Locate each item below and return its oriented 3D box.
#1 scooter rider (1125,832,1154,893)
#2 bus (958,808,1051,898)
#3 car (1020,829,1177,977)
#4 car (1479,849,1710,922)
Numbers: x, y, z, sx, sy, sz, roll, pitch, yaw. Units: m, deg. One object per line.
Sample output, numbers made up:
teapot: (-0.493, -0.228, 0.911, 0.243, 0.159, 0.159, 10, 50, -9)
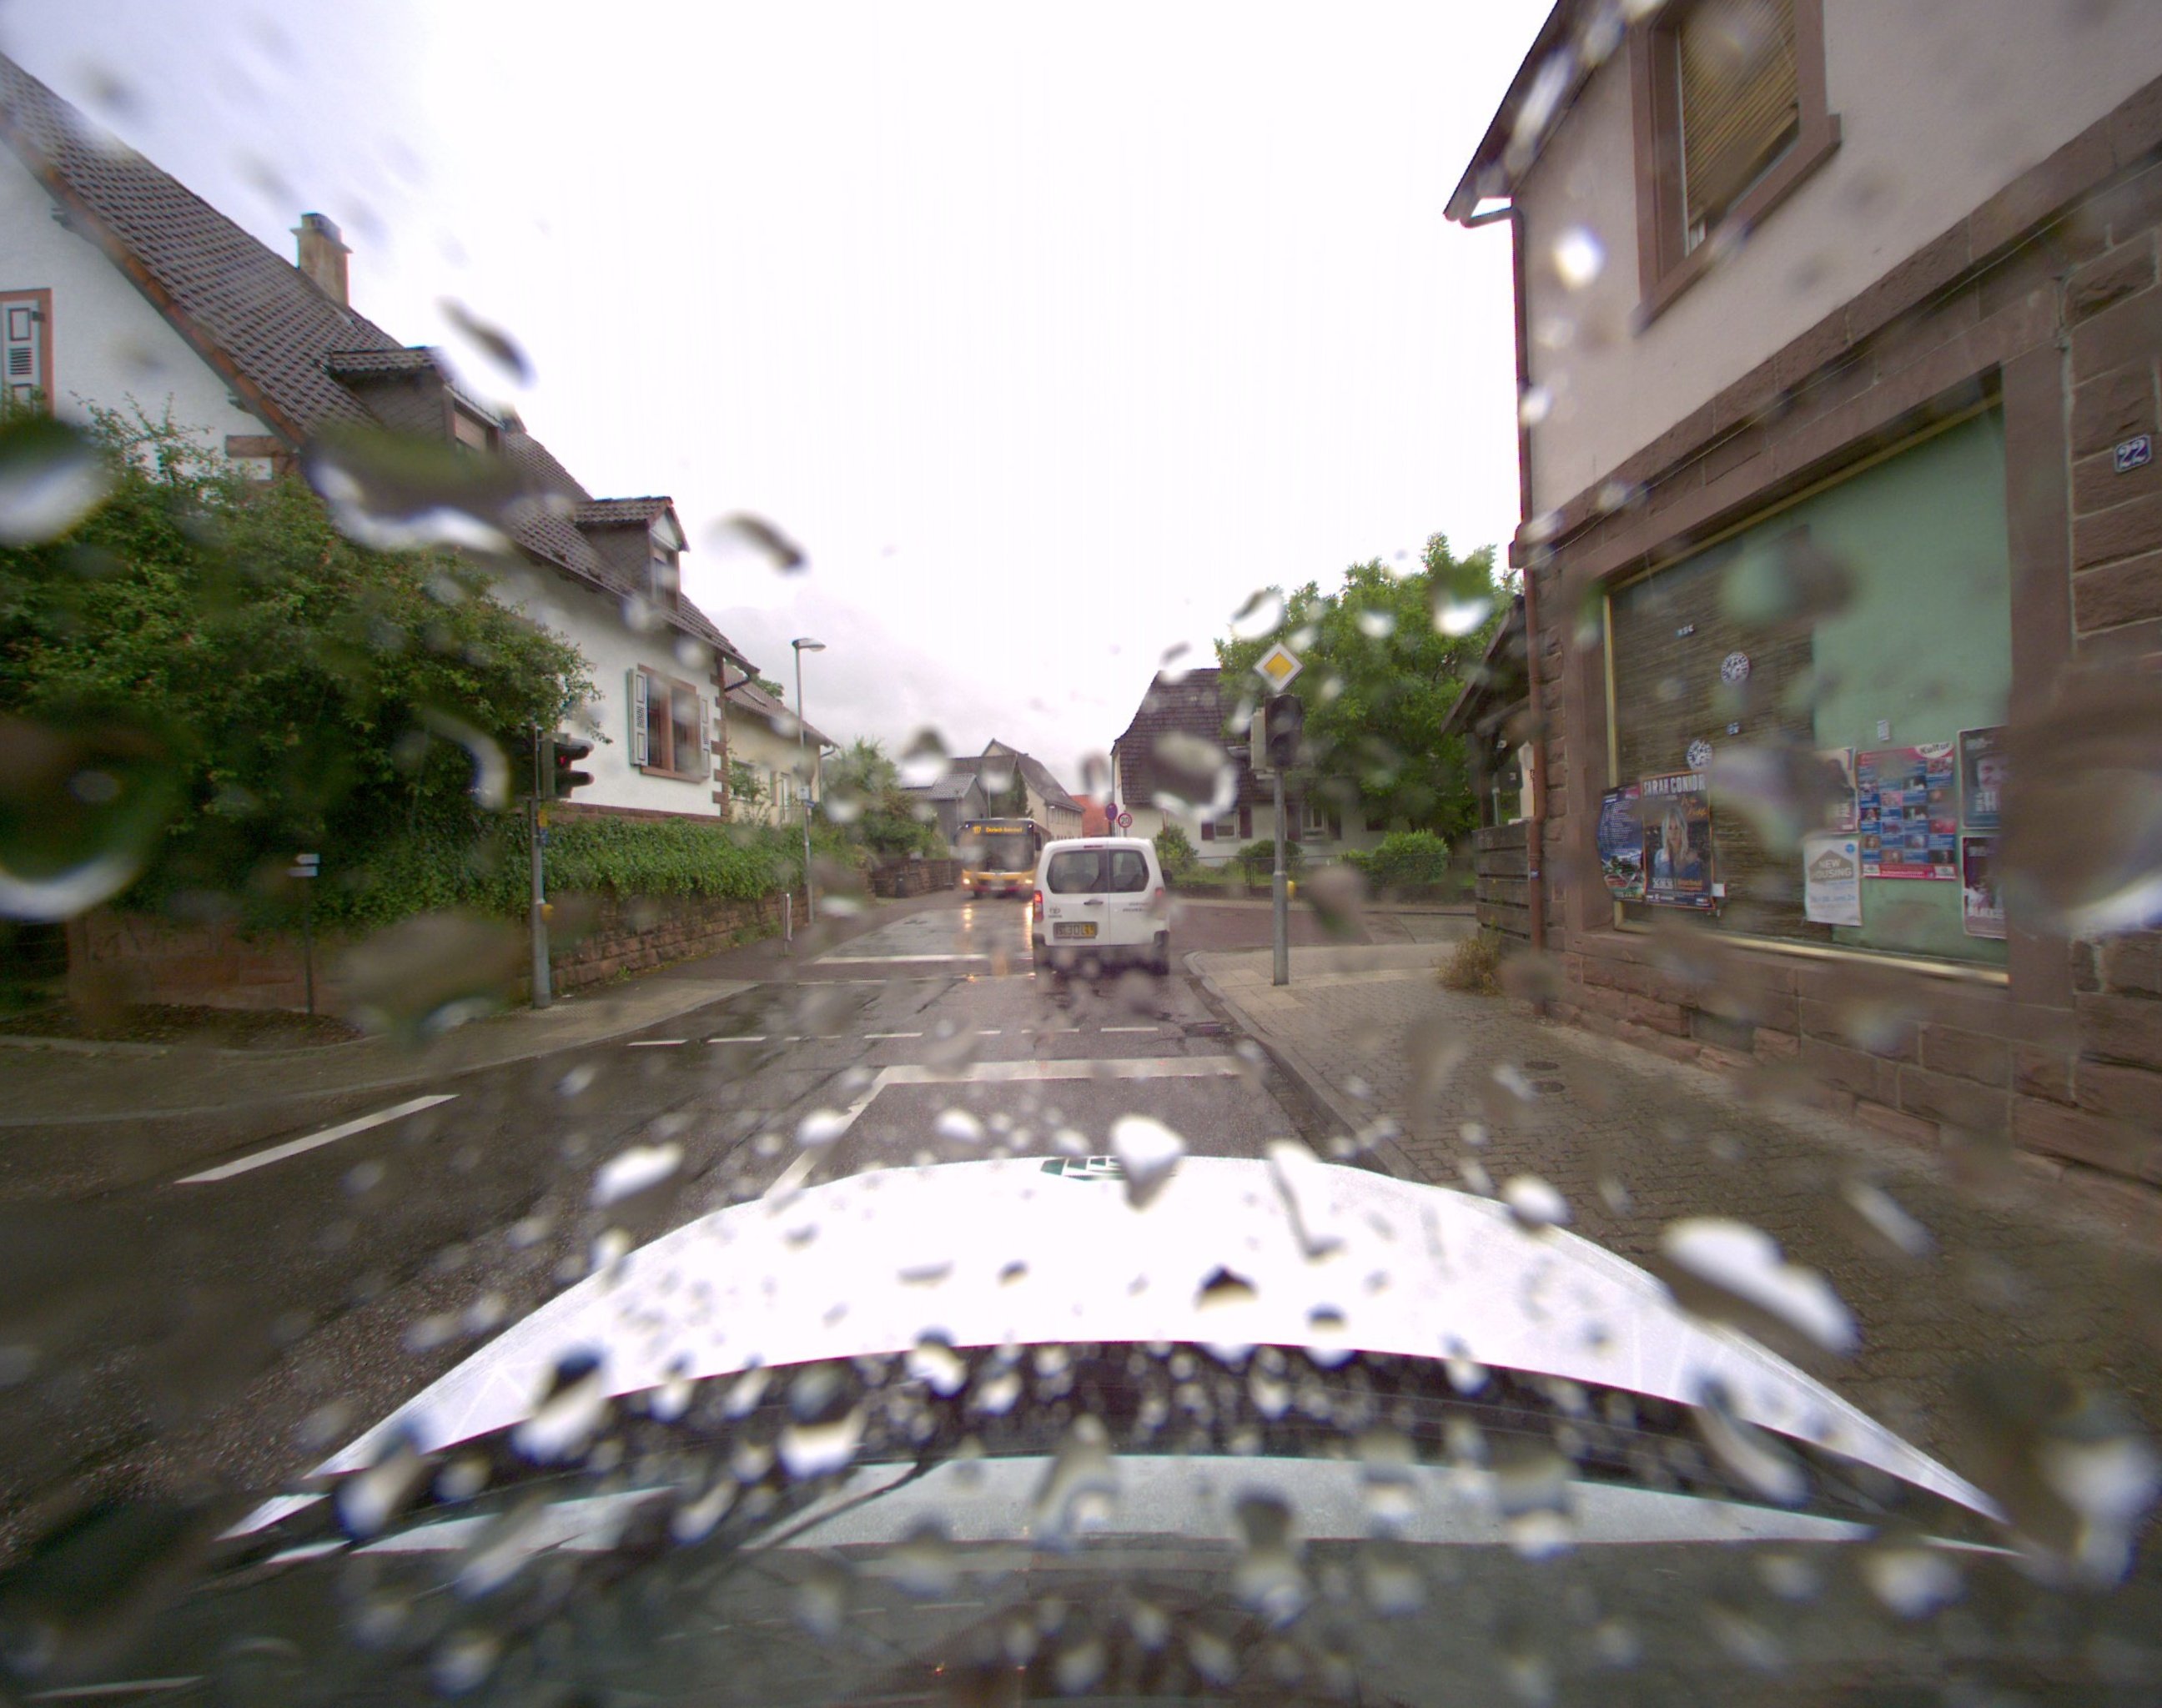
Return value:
scooter rider: (1.698, 0.246, 23.700, 0.729, 1.733, 0.517, -2, 1, -4)
bus: (-2.820, -0.185, 33.816, 2.641, 2.999, 12.192, -1, 2, 0)
car: (0.296, 0.594, 11.838, 1.887, 1.794, 3.816, -1, 0, 2)
car: (11.124, 0.651, 17.955, 3.957, 1.466, 1.791, 0, -1, 16)
